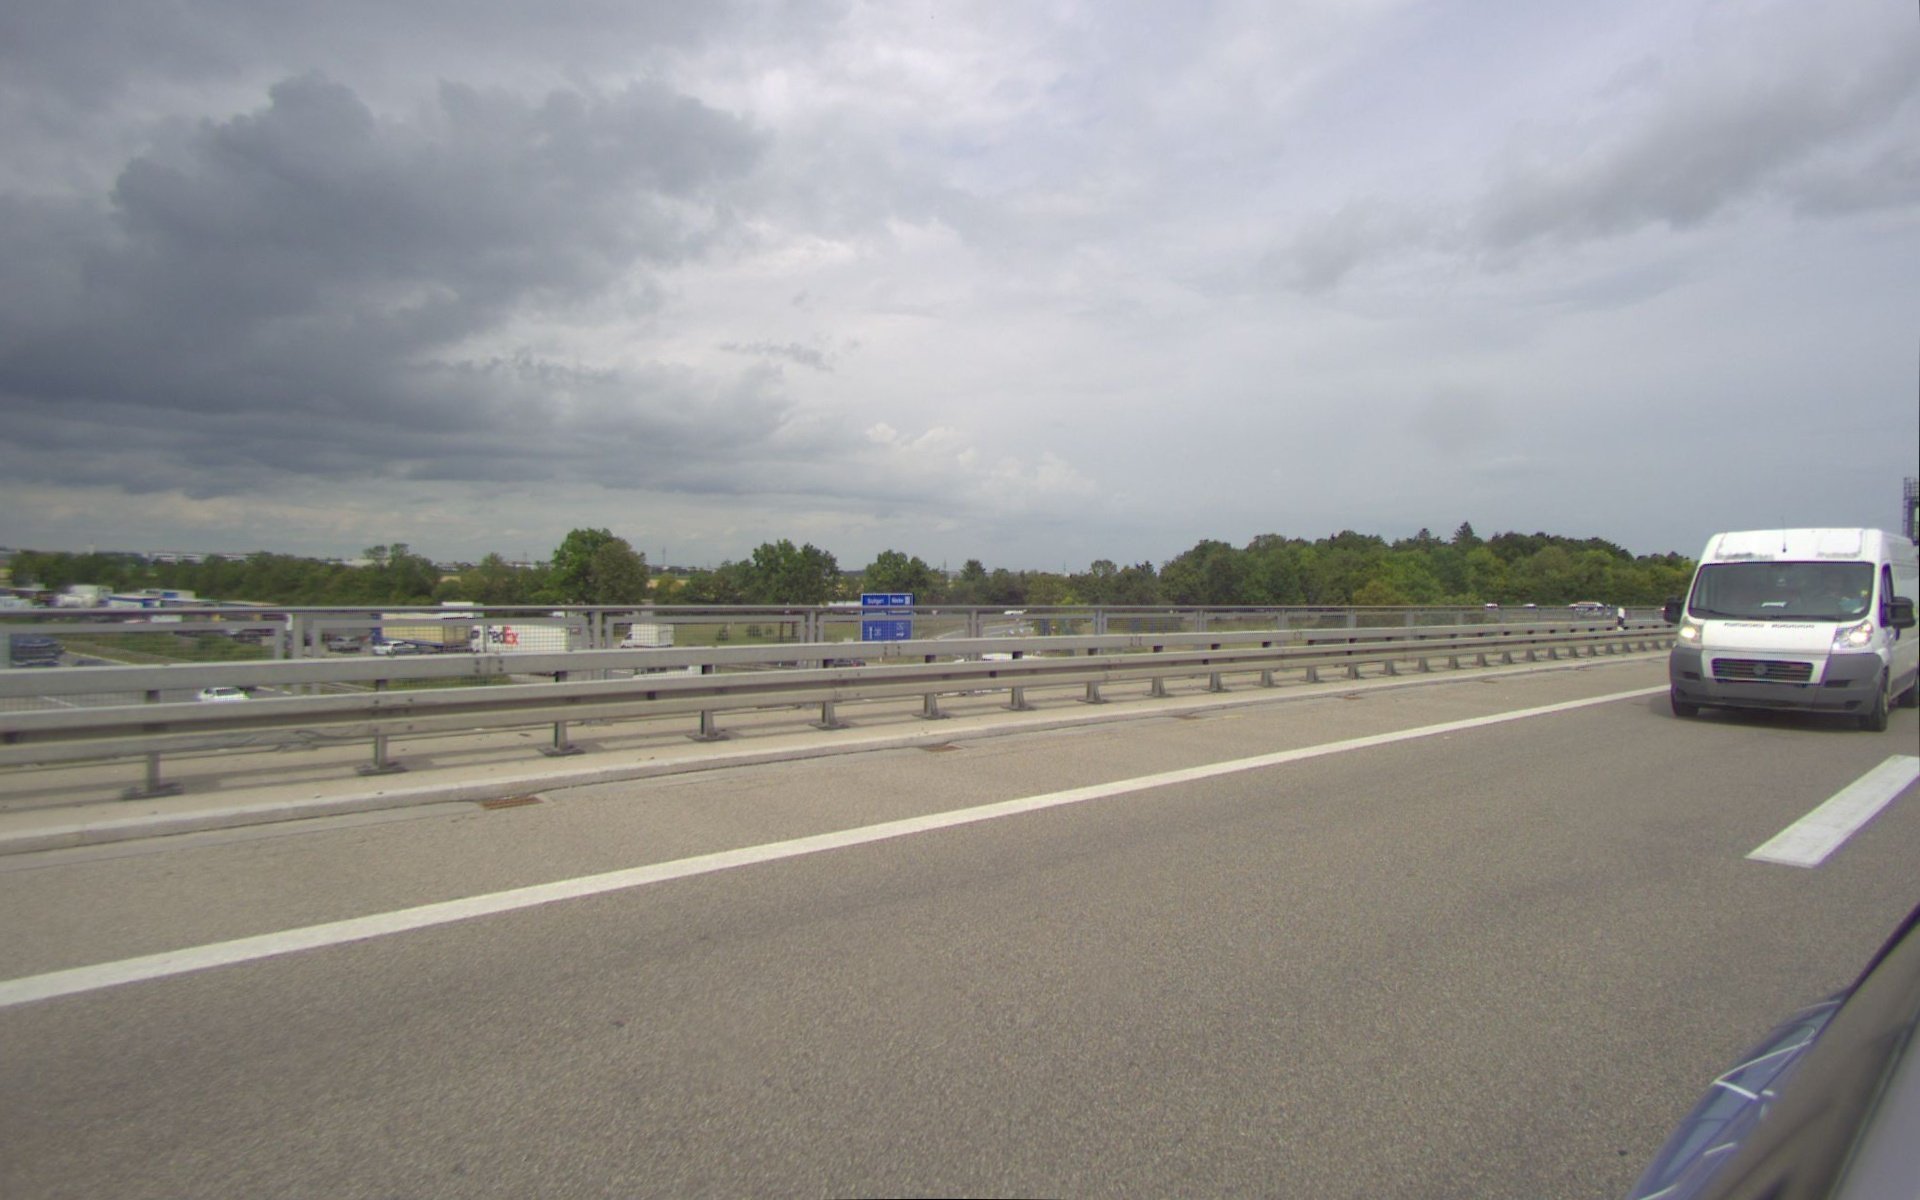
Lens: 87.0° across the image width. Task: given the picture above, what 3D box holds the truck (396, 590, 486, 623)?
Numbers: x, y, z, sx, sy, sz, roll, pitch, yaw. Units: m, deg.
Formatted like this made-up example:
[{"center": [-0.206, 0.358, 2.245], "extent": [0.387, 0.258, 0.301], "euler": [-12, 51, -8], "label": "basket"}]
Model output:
[{"center": [-82.887, 1.037, 161.692], "extent": [12.779, 5.105, 3.943], "euler": [0, -1, 7], "label": "truck"}]

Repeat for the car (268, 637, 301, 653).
[{"center": [-73.143, 4.822, 109.512], "extent": [3.976, 1.505, 1.715], "euler": [1, 0, 36], "label": "car"}]

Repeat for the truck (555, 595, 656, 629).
[{"center": [-56.029, 1.908, 160.204], "extent": [14.555, 5.281, 3.866], "euler": [0, -1, -7], "label": "truck"}]

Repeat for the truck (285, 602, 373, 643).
[{"center": [-76.601, 2.614, 122.588], "extent": [14.796, 4.612, 3.955], "euler": [0, 0, 37], "label": "truck"}]

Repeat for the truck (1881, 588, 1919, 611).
[{"center": [161.704, -0.037, 169.472], "extent": [11.587, 3.907, 2.842], "euler": [0, -1, 6], "label": "truck"}]

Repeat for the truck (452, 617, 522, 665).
[{"center": [-47.572, 4.058, 101.753], "extent": [6.254, 4.568, 3.882], "euler": [0, 0, 36], "label": "truck"}]

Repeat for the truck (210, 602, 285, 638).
[{"center": [-95.610, 2.565, 135.665], "extent": [15.219, 4.612, 3.954], "euler": [0, 0, 38], "label": "truck"}]

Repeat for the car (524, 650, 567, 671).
[{"center": [-36.484, 5.289, 89.032], "extent": [3.975, 1.575, 1.651], "euler": [1, 1, 36], "label": "car"}]

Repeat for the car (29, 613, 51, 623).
[{"center": [-145.331, 2.827, 159.845], "extent": [3.974, 1.505, 1.716], "euler": [1, 0, 35], "label": "car"}]

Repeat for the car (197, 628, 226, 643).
[{"center": [-89.897, 4.265, 121.476], "extent": [3.975, 1.575, 1.651], "euler": [1, 1, 36], "label": "car"}]

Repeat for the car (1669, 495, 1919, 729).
[{"center": [11.584, 0.145, 13.610], "extent": [6.046, 2.485, 2.116], "euler": [1, -1, -43], "label": "car"}]

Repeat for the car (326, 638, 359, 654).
[{"center": [-67.326, 5.019, 110.310], "extent": [3.976, 1.505, 1.715], "euler": [1, 0, 37], "label": "car"}]

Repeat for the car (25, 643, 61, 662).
[{"center": [-90.986, 5.190, 100.370], "extent": [3.976, 1.638, 1.974], "euler": [-1, -1, 37], "label": "car"}]

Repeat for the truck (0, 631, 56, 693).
[{"center": [-71.976, 4.670, 77.397], "extent": [5.580, 4.340, 3.091], "euler": [1, 0, 36], "label": "truck"}]

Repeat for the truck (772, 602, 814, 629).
[{"center": [-27.668, 2.539, 167.476], "extent": [6.307, 4.240, 3.169], "euler": [0, 0, -19], "label": "truck"}]

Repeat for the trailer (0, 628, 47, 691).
[{"center": [-77.418, 4.641, 81.455], "extent": [13.869, 4.340, 3.091], "euler": [1, 0, 37], "label": "trailer"}]

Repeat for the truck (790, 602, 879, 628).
[{"center": [-21.055, 2.530, 169.951], "extent": [14.422, 4.141, 3.092], "euler": [1, -1, -20], "label": "truck"}]

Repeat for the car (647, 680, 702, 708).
[{"center": [-20.393, 6.658, 72.215], "extent": [3.975, 1.575, 1.651], "euler": [1, 1, 36], "label": "car"}]

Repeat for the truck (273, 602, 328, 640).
[{"center": [-83.167, 2.552, 127.589], "extent": [6.255, 4.568, 3.881], "euler": [0, 0, 36], "label": "truck"}]

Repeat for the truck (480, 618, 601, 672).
[{"center": [-40.100, 4.106, 96.393], "extent": [13.703, 4.612, 3.957], "euler": [0, -1, 36], "label": "truck"}]

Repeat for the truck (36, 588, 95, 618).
[{"center": [-153.494, 0.476, 173.524], "extent": [15.250, 4.882, 4.035], "euler": [0, -1, 35], "label": "truck"}]

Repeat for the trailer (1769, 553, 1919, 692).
[{"center": [15.302, 0.348, 17.038], "extent": [4.550, 2.039, 1.858], "euler": [1, -1, -41], "label": "trailer"}]

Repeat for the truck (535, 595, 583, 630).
[{"center": [-63.067, 1.865, 159.397], "extent": [6.312, 5.381, 3.864], "euler": [0, 0, -7], "label": "truck"}]

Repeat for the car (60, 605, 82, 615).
[{"center": [-143.144, 1.640, 162.948], "extent": [3.974, 1.505, 1.716], "euler": [1, 0, 35], "label": "car"}]

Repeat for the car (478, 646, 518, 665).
[{"center": [-42.454, 5.065, 92.946], "extent": [3.976, 1.505, 1.715], "euler": [1, 0, 37], "label": "car"}]

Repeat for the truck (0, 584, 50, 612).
[{"center": [-172.876, -0.364, 186.584], "extent": [15.250, 4.882, 4.035], "euler": [0, -1, 35], "label": "truck"}]

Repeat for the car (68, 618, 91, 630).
[{"center": [-128.558, 3.474, 147.779], "extent": [3.974, 1.505, 1.716], "euler": [1, 0, 35], "label": "car"}]

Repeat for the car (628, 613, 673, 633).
[{"center": [-33.232, 2.480, 108.629], "extent": [4.635, 2.039, 2.159], "euler": [0, 0, 32], "label": "car"}]

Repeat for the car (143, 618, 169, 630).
[{"center": [-105.013, 3.136, 132.218], "extent": [3.976, 1.505, 1.715], "euler": [1, 0, 36], "label": "car"}]

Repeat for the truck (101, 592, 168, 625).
[{"center": [-129.439, 1.273, 158.584], "extent": [14.385, 4.882, 4.037], "euler": [0, -1, 34], "label": "truck"}]

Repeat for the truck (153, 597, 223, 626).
[{"center": [-112.447, 1.624, 147.299], "extent": [14.800, 4.083, 4.090], "euler": [0, 0, 36], "label": "truck"}]

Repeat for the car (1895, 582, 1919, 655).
[{"center": [25.769, 0.472, 26.120], "extent": [3.930, 1.817, 1.997], "euler": [1, 0, -41], "label": "car"}]

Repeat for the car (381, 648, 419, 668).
[{"center": [-52.525, 5.398, 94.896], "extent": [3.975, 1.575, 1.651], "euler": [1, 1, 36], "label": "car"}]

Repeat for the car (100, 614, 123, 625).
[{"center": [-128.003, 2.901, 152.582], "extent": [3.974, 1.505, 1.716], "euler": [1, 0, 35], "label": "car"}]

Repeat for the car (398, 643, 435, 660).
[{"center": [-54.231, 5.109, 101.026], "extent": [3.976, 1.505, 1.715], "euler": [1, 0, 37], "label": "car"}]

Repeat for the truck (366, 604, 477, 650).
[{"center": [-59.066, 2.847, 110.692], "extent": [16.264, 4.612, 3.956], "euler": [0, 0, 36], "label": "truck"}]

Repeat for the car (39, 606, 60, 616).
[{"center": [-150.556, 1.832, 167.311], "extent": [3.974, 1.505, 1.716], "euler": [1, 0, 35], "label": "car"}]

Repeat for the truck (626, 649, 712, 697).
[{"center": [-22.480, 5.542, 78.029], "extent": [7.520, 3.237, 2.203], "euler": [0, -1, 36], "label": "truck"}]
